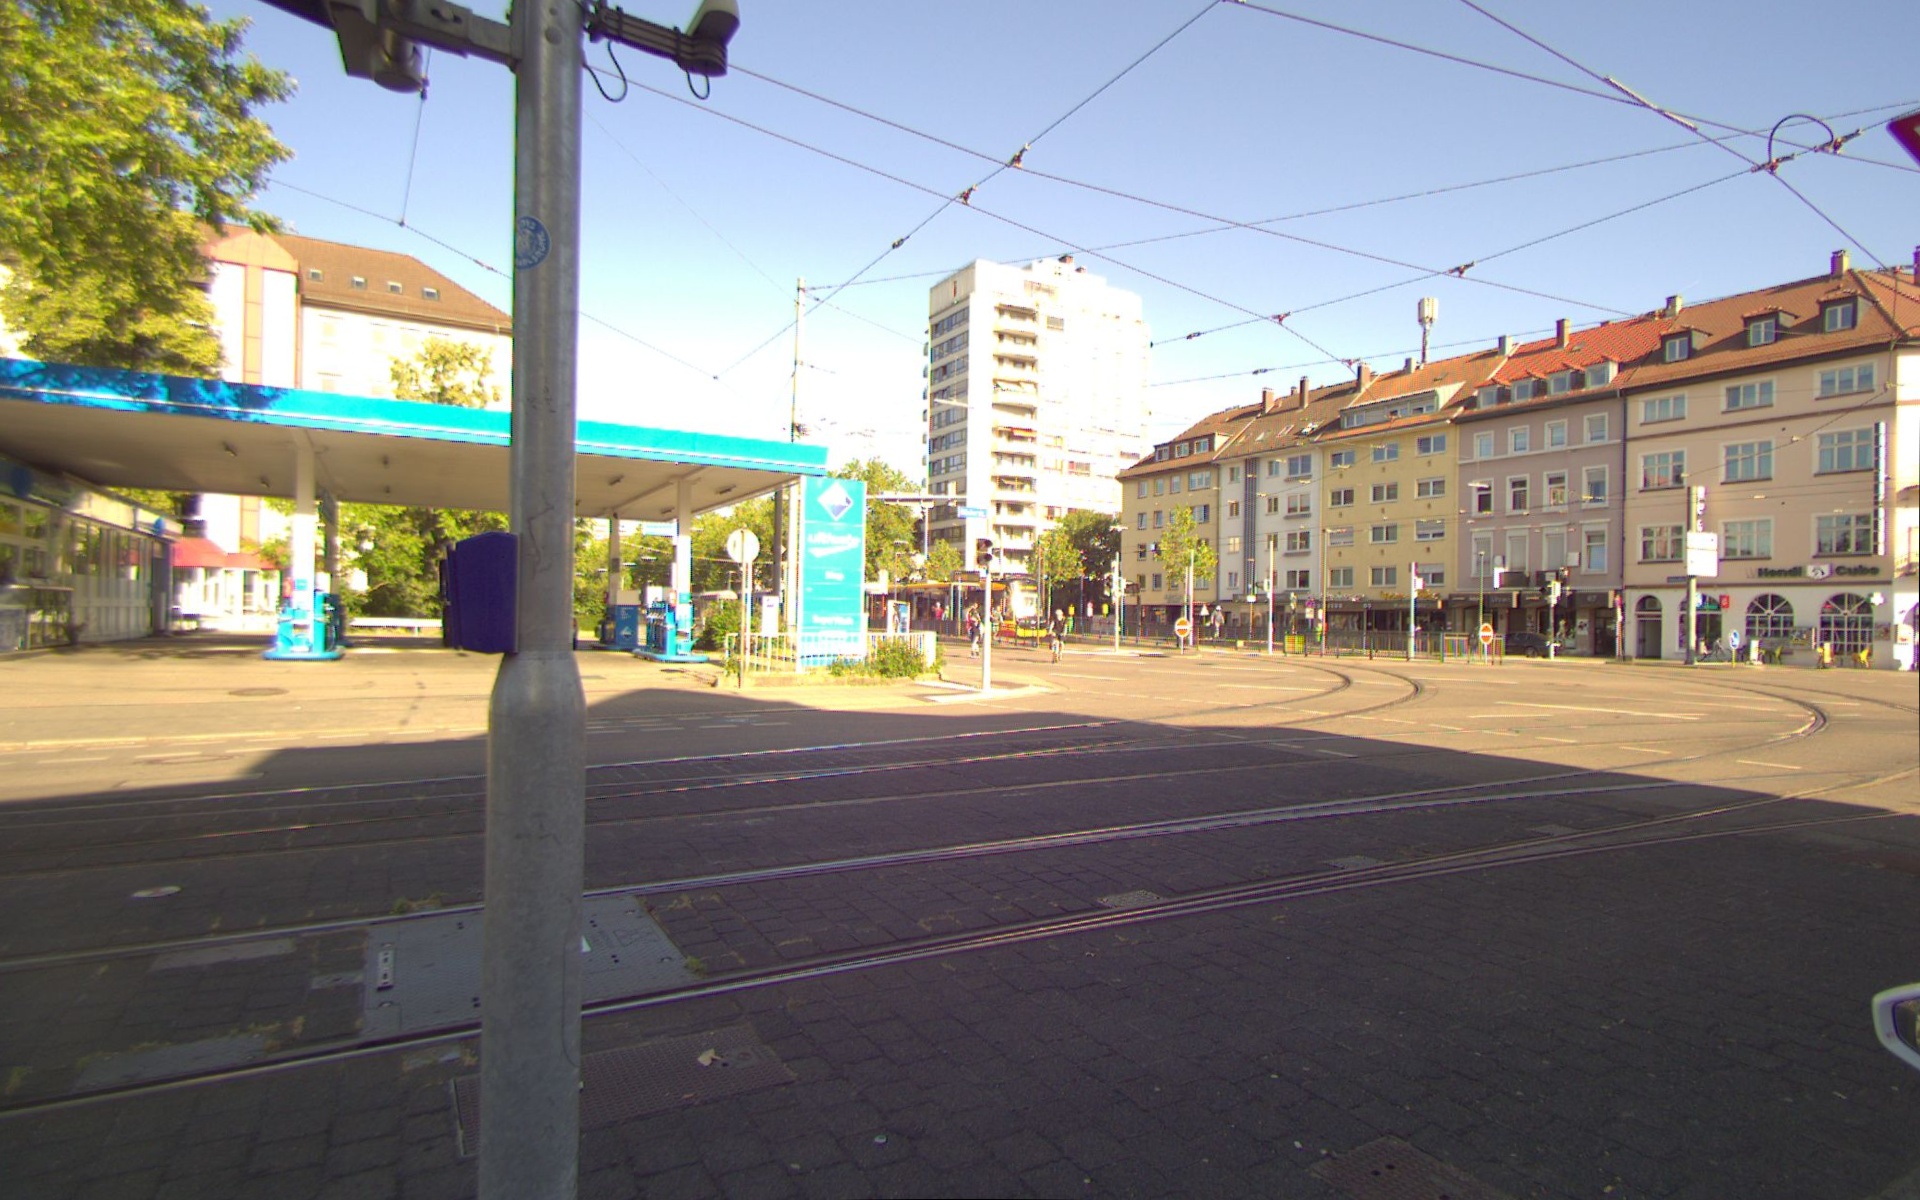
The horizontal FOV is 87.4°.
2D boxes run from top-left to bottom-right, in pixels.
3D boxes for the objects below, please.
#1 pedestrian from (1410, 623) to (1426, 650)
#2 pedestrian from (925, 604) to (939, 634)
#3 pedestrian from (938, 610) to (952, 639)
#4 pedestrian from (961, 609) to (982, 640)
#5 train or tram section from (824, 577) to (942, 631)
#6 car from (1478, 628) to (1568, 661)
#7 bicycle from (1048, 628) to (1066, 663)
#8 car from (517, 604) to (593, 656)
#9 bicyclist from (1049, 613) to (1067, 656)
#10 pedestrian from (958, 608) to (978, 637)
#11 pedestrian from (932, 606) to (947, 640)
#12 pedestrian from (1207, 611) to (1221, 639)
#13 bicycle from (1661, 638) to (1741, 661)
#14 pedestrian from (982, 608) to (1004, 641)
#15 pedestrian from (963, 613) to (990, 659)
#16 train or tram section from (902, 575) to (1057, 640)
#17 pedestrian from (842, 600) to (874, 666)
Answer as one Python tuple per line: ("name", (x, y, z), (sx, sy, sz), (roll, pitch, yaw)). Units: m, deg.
("pedestrian", (29.341, 2.335, 64.380), (0.693, 1.656, 0.629), (2, 0, -33))
("pedestrian", (-1.571, 1.069, 56.207), (0.580, 1.613, 0.520), (2, 0, -31))
("pedestrian", (-0.830, 1.390, 56.661), (0.580, 1.613, 0.520), (2, 0, -31))
("pedestrian", (0.585, 1.247, 51.334), (0.814, 1.532, 0.699), (1, -1, -33))
("train or tram section", (-5.488, 0.202, 68.003), (2.751, 3.273, 12.286), (2, 0, -31))
("car", (30.856, 2.421, 55.143), (1.970, 1.692, 3.981), (1, -1, -21))
("bicycle", (3.189, 1.486, 33.101), (0.563, 1.084, 1.795), (2, 0, 5))
("car", (-12.156, 0.872, 30.017), (1.764, 1.411, 3.455), (2, 0, -28))
("bicyclist", (3.213, 1.133, 33.056), (0.549, 1.384, 0.803), (2, 0, 5))
("pedestrian", (0.434, 1.188, 52.843), (0.814, 1.532, 0.699), (1, -1, -33))
("pedestrian", (-1.182, 1.310, 57.210), (0.666, 1.913, 0.520), (2, 0, -31))
("pedestrian", (14.921, 1.470, 59.091), (0.570, 1.649, 0.522), (2, 0, -31))
("bicycle", (37.501, 2.495, 50.899), (0.989, 0.993, 3.115), (2, 0, -29))
("pedestrian", (1.626, 1.207, 49.114), (0.814, 1.608, 0.699), (1, -1, -33))
("pedestrian", (0.620, 1.336, 37.118), (0.675, 1.656, 0.694), (2, 0, -35))
("train or tram section", (0.759, 0.349, 57.517), (2.751, 3.273, 12.286), (2, 0, -31))
("pedestrian", (-3.000, 0.948, 29.547), (0.778, 1.893, 0.674), (2, 0, 6))
